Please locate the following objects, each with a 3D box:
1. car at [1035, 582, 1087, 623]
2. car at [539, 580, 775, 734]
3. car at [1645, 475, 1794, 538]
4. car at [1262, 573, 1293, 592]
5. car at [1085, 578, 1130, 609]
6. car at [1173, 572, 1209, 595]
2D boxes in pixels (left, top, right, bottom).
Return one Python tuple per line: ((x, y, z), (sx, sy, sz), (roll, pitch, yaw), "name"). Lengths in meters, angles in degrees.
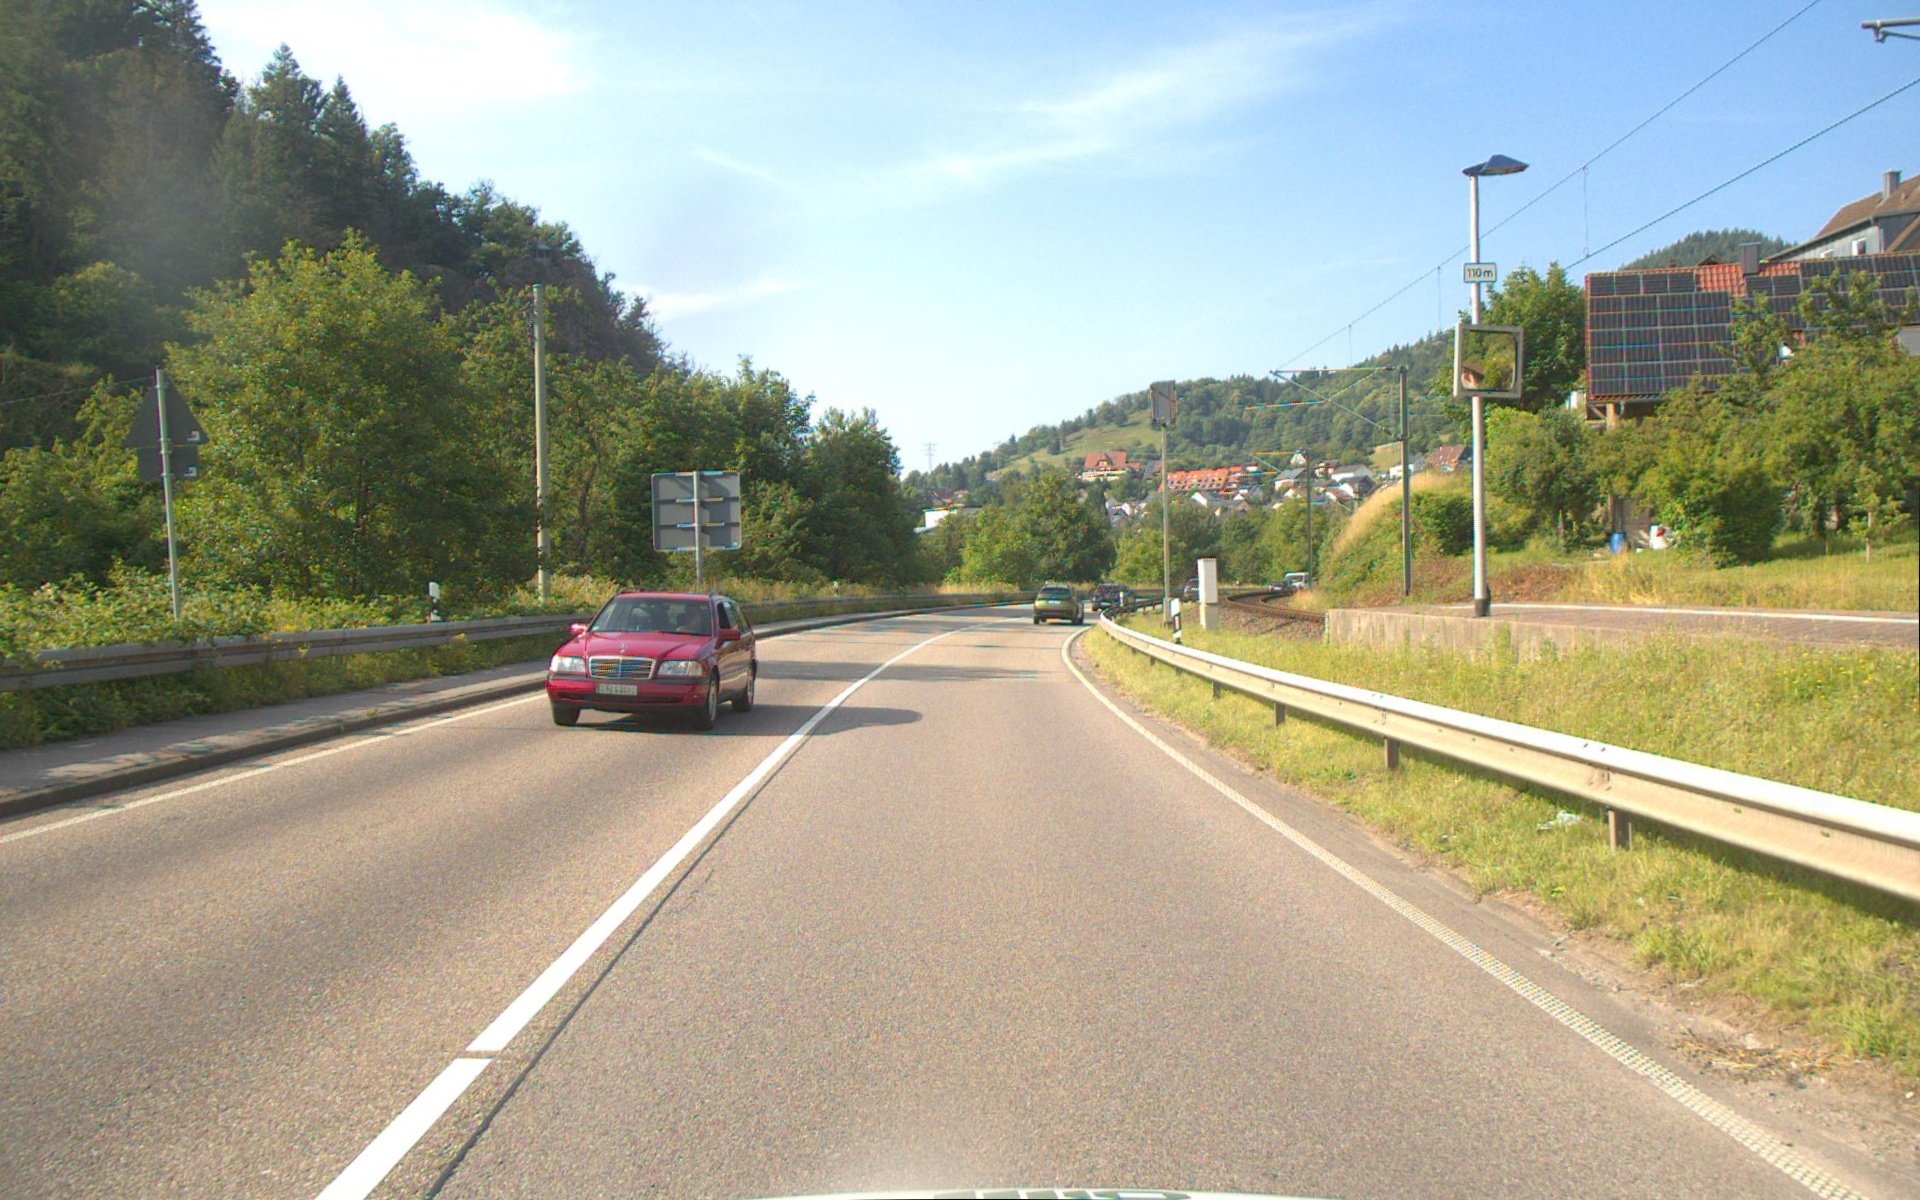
((3.967, 0.075, 64.514), (1.691, 1.482, 3.414), (-2, 1, 9), "car")
((-3.320, 0.543, 19.090), (1.804, 1.495, 4.943), (2, 1, 0), "car")
((23.764, -2.899, 51.901), (3.902, 1.713, 2.002), (-2, 0, 14), "car")
((26.084, -1.462, 135.955), (1.771, 1.433, 3.773), (-2, 1, 22), "car")
((7.622, -0.330, 85.046), (1.801, 1.485, 3.716), (-2, 1, 12), "car")
((15.786, -1.128, 112.873), (1.769, 1.478, 3.649), (-2, 1, 19), "car")
